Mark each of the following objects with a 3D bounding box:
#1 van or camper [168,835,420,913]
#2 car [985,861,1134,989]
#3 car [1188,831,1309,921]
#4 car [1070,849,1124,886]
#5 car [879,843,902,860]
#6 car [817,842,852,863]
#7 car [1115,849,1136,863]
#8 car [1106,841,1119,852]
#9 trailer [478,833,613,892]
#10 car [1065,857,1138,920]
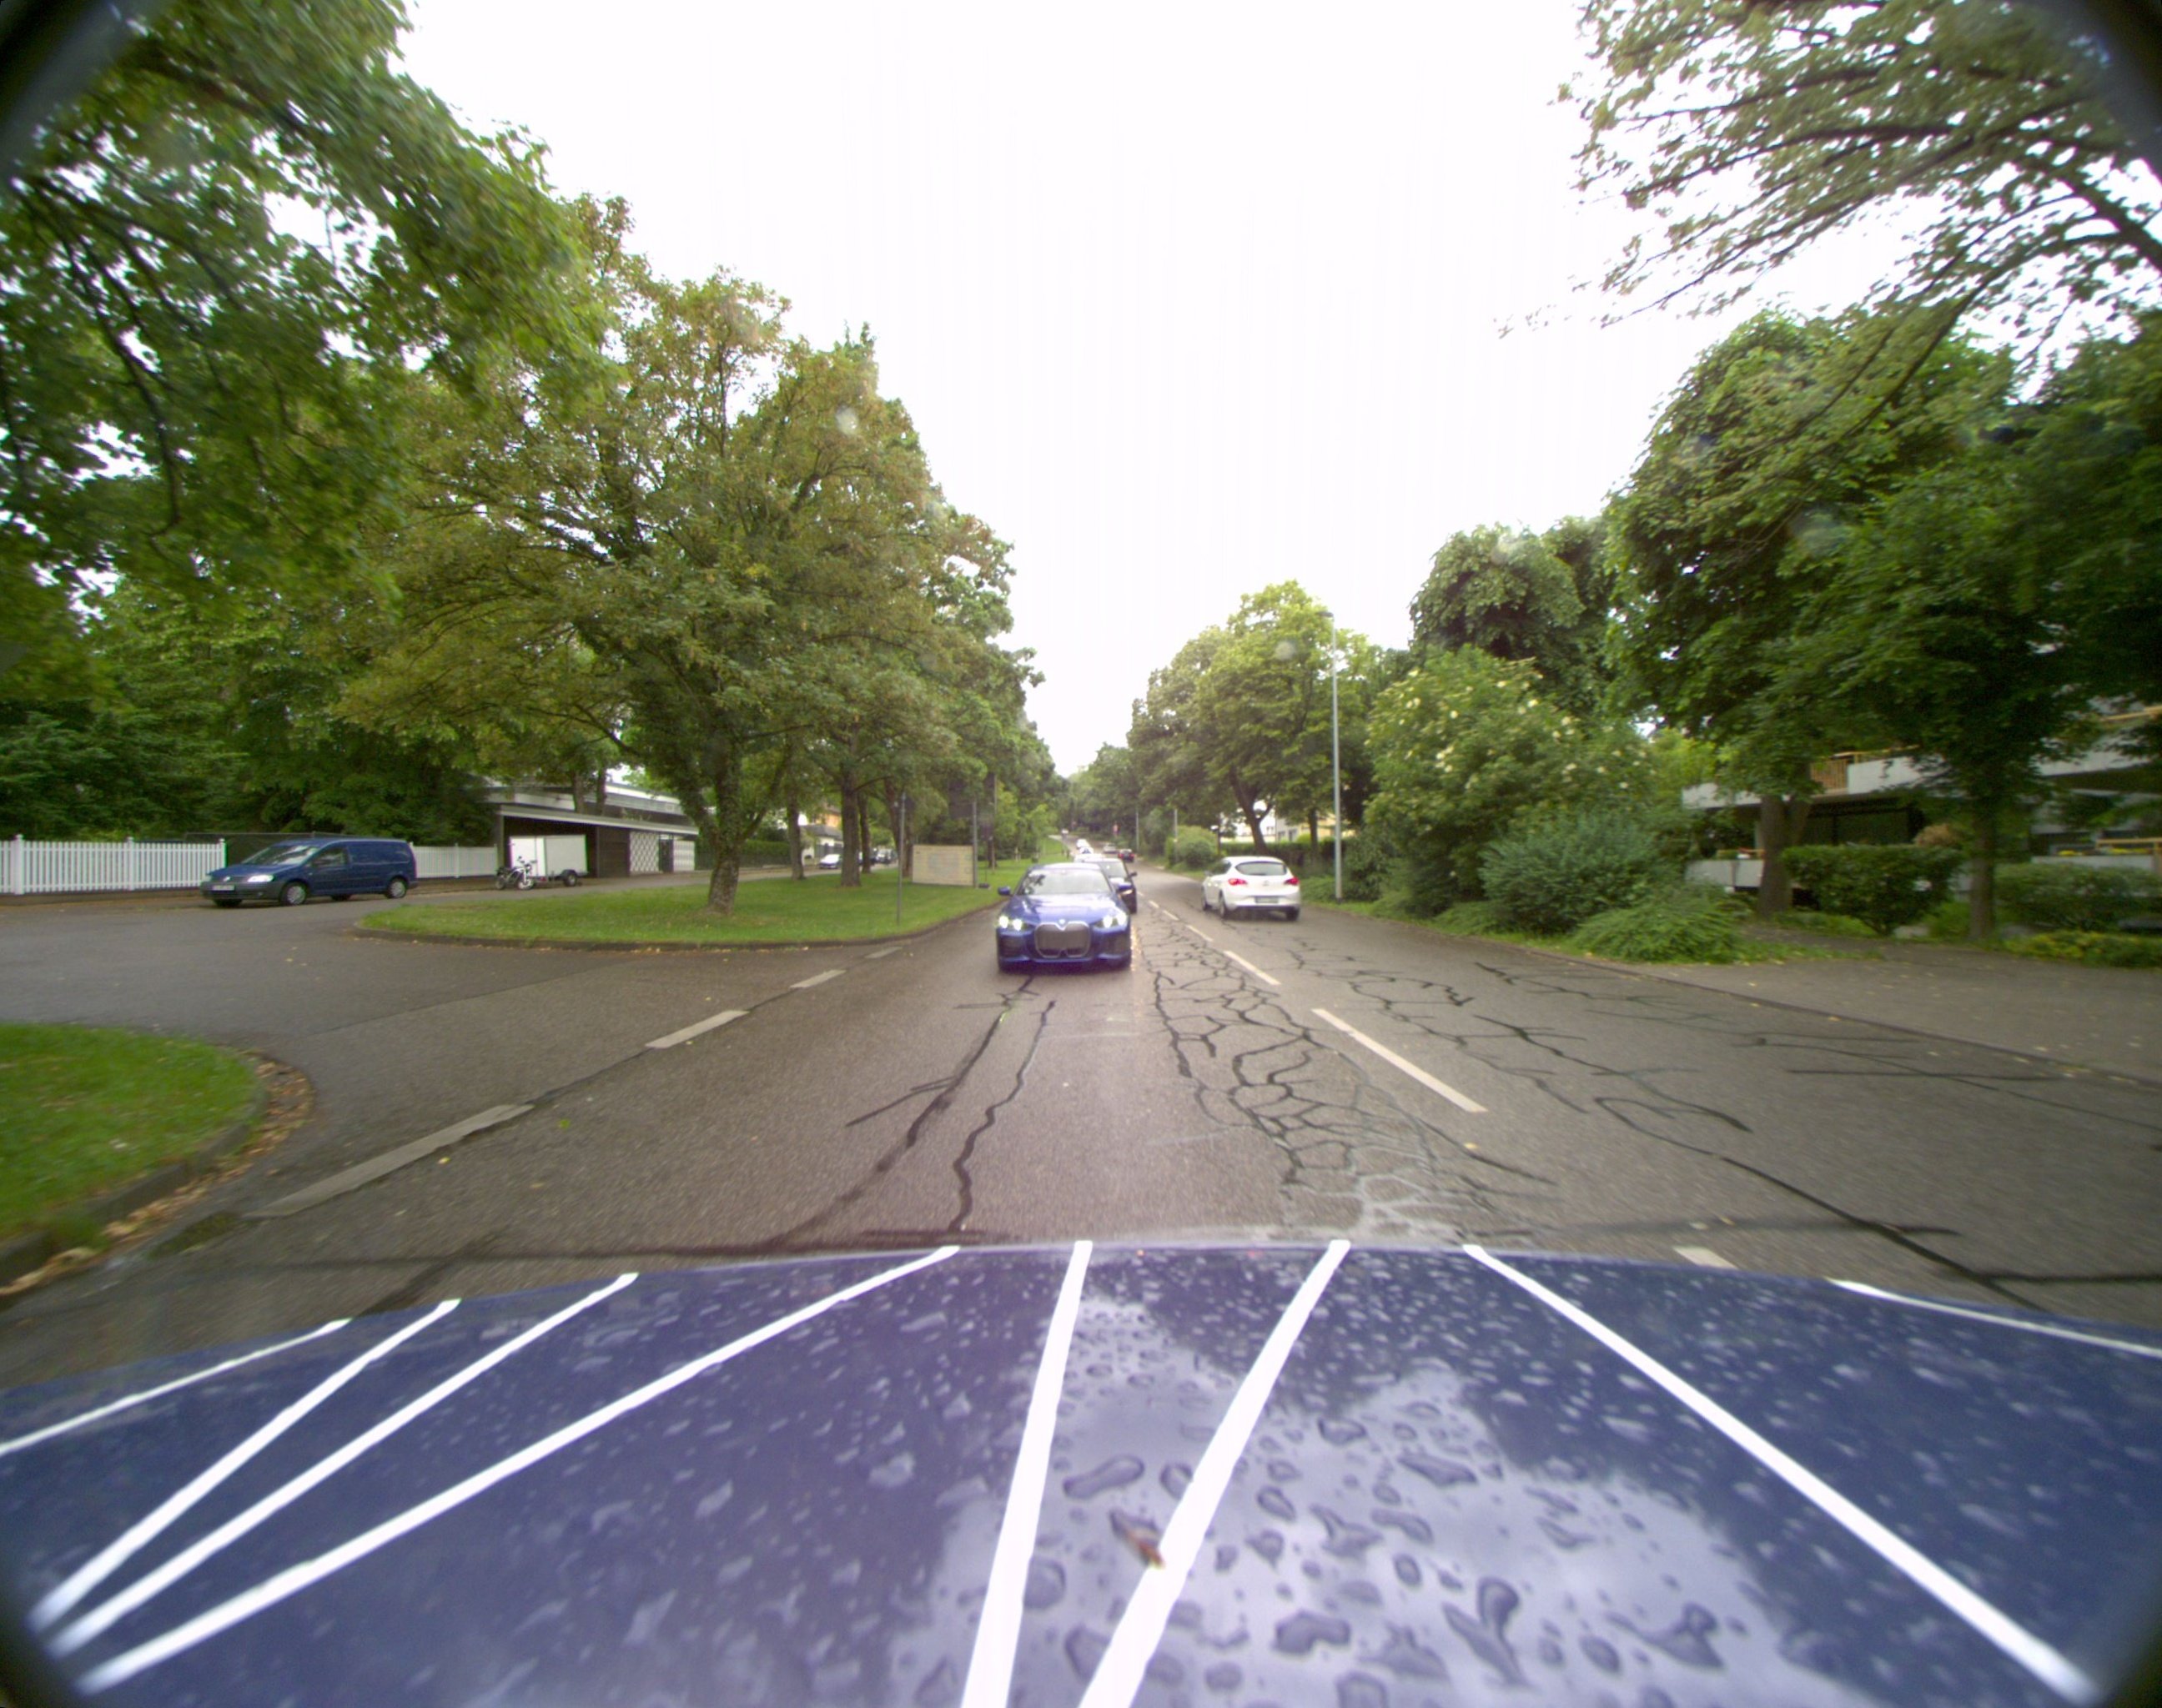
[{"bbox_3d":[-21.041,0.459,20.709,1.999,1.798,4.773,-2,1,-4],"label":"van or camper"},{"bbox_3d":[-0.259,0.917,11.650,1.826,1.471,4.067,-2,1,0],"label":"car"},{"bbox_3d":[4.042,0.485,19.177,1.999,2.002,4.573,0,0,-1],"label":"car"},{"bbox_3d":[0.657,0.566,34.462,2.032,1.471,4.065,-2,1,-4],"label":"car"},{"bbox_3d":[-24.075,-0.257,96.131,1.999,2.001,4.000,0,-2,-2],"label":"car"},{"bbox_3d":[-23.409,-0.138,72.342,1.998,2.002,3.999,0,1,0],"label":"car"},{"bbox_3d":[4.655,0.193,79.999,1.770,1.341,4.375,1,1,-3],"label":"car"},{"bbox_3d":[4.528,-1.073,108.037,1.825,1.471,4.067,0,1,2],"label":"car"},{"bbox_3d":[-21.203,0.291,30.434,1.771,2.104,5.191,-2,1,-2],"label":"trailer"},{"bbox_3d":[0.529,0.900,21.581,1.826,1.471,4.067,-2,1,0],"label":"car"}]
